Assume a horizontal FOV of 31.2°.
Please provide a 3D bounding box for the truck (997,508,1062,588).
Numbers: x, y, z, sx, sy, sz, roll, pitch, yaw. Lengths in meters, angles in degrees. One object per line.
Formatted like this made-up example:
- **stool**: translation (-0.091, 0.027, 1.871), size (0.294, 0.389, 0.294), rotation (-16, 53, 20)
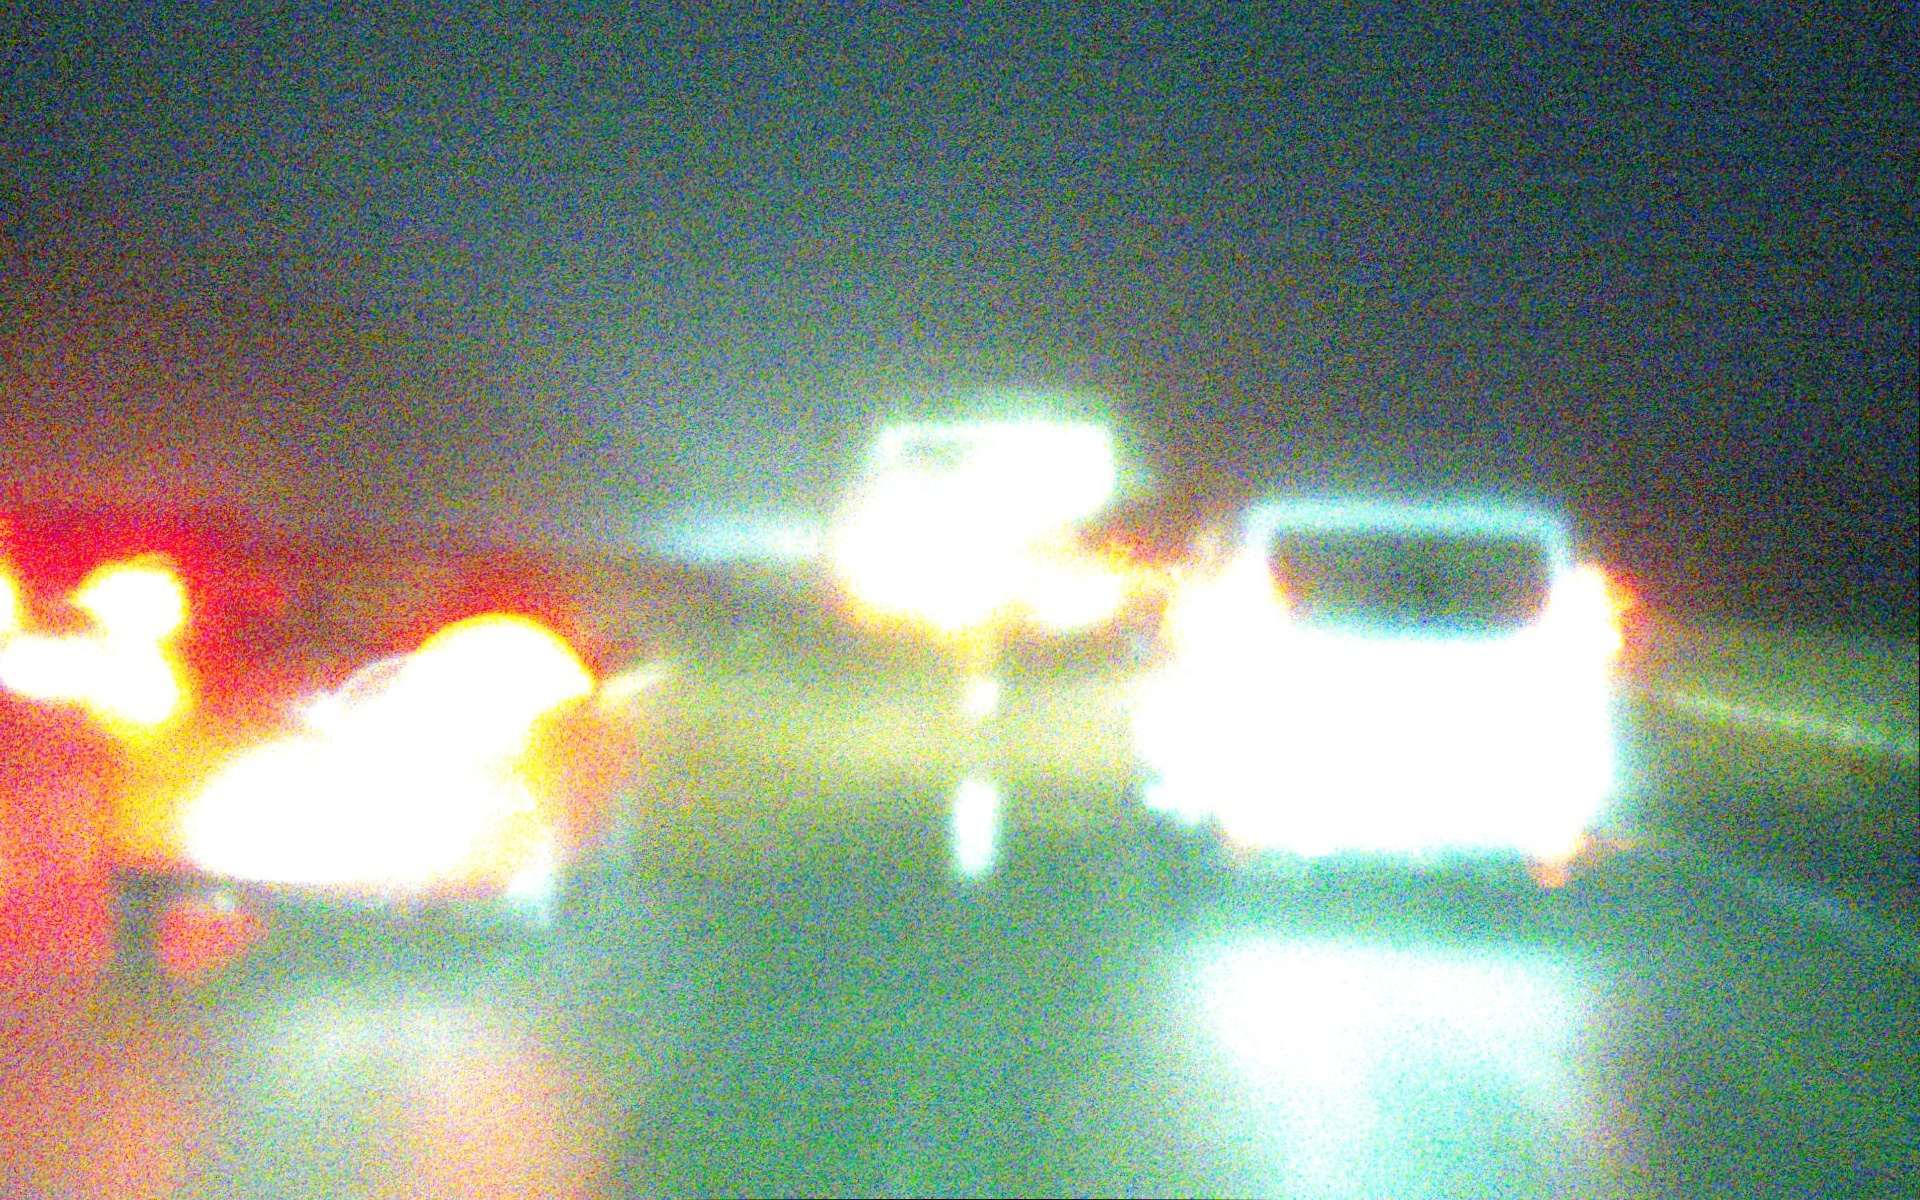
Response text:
- **truck**: translation (4.398, -3.278, 220.126), size (3.824, 4.898, 11.606), rotation (-1, 0, 0)

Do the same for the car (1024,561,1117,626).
- **car**: translation (2.518, -0.164, 79.290), size (1.890, 1.349, 4.000), rotation (3, 1, -1)

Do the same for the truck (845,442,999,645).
- **truck**: translation (-1.071, -1.583, 100.542), size (4.167, 5.525, 13.074), rotation (0, 0, 0)

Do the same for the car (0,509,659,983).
- **car**: translation (-2.352, 0.486, 13.736), size (1.916, 1.589, 4.233), rotation (0, 0, 0)

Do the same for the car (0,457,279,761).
- **car**: translation (-5.972, 0.049, 22.534), size (1.993, 1.771, 4.887), rotation (0, 0, 1)

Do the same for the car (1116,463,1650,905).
- **car**: translation (1.837, 0.330, 16.543), size (1.953, 1.786, 5.124), rotation (0, 0, 0)
